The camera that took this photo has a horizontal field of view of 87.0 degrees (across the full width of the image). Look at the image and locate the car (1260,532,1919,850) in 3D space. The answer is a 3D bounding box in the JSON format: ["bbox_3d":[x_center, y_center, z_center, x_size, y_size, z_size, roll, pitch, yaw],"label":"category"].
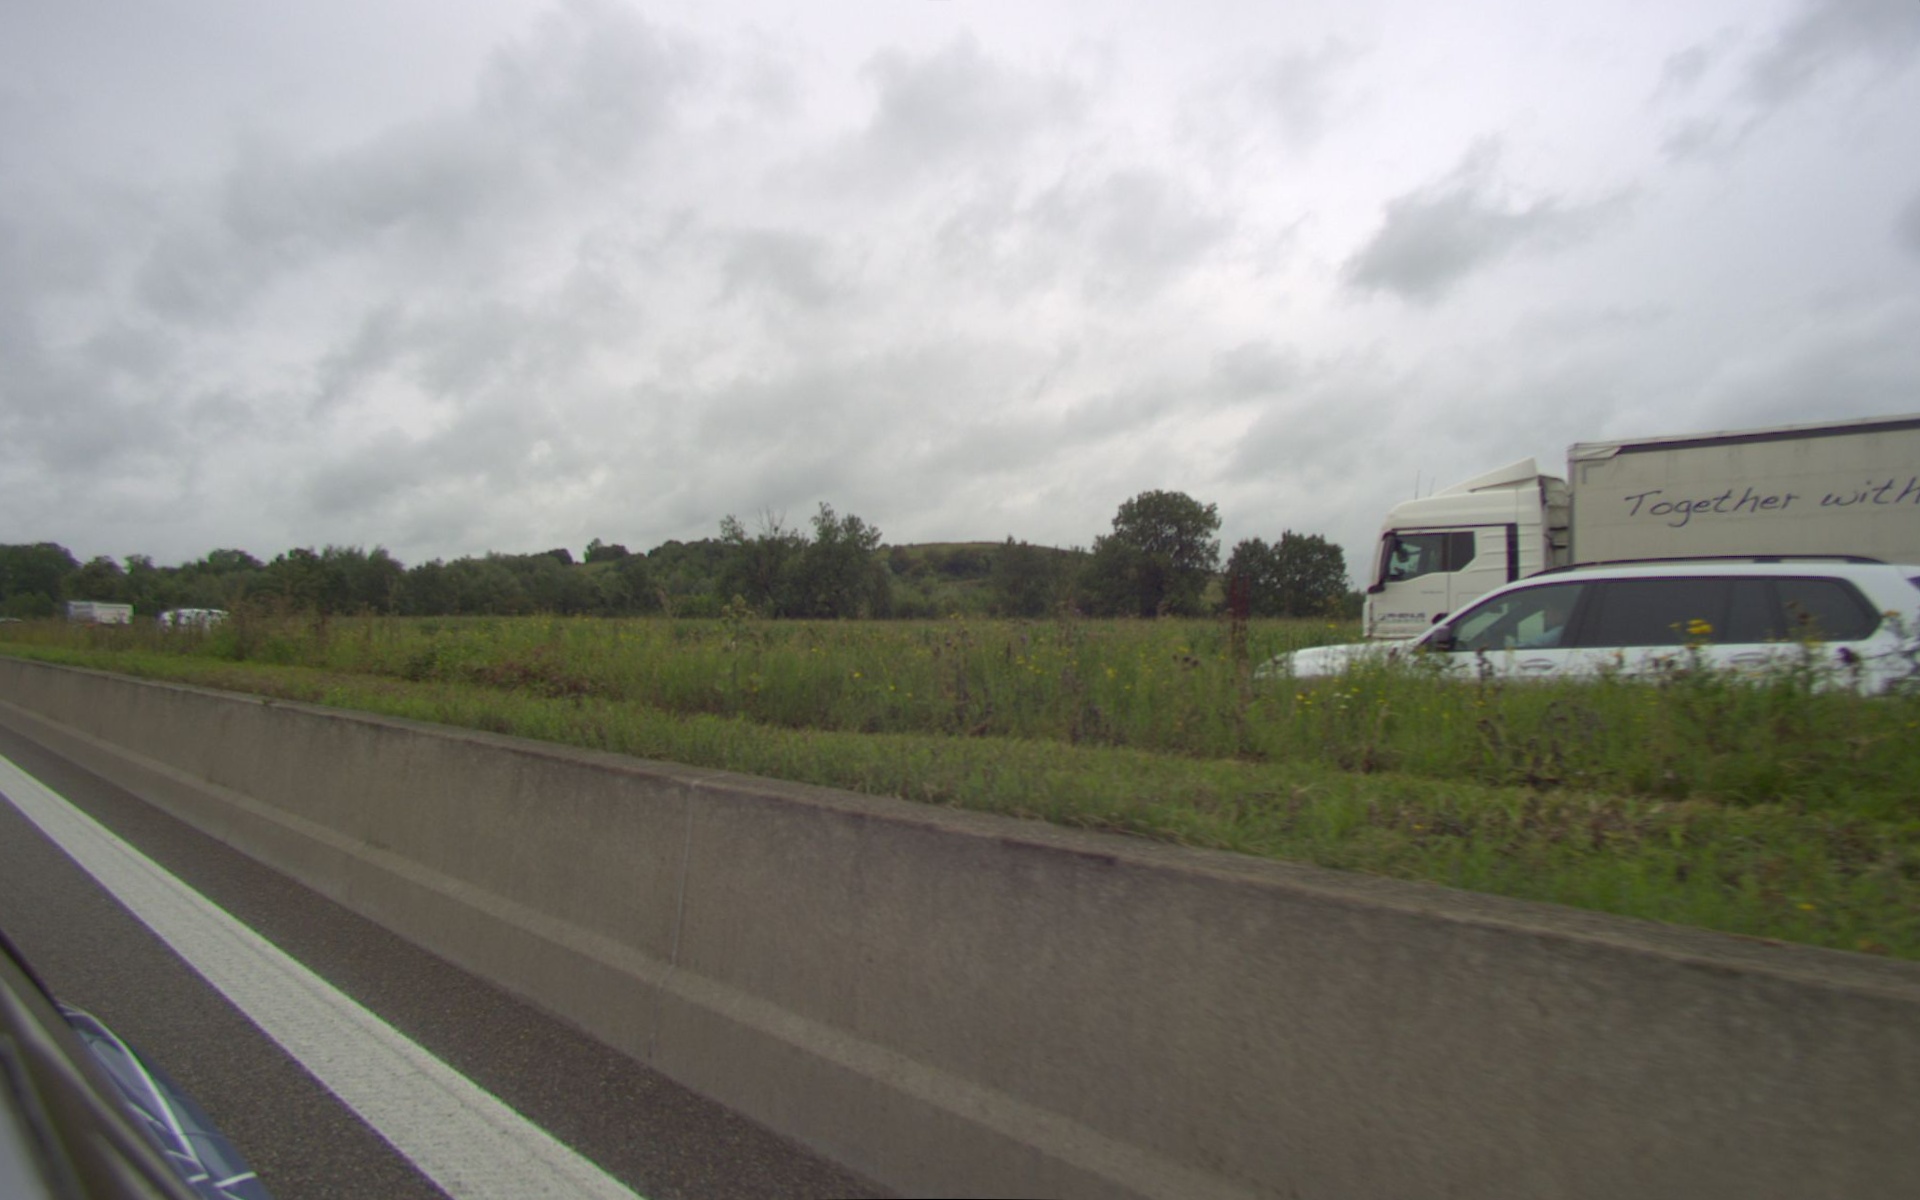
[{"bbox_3d":[4.933,0.585,7.690,4.798,1.852,1.800,-1,-3,41],"label":"car"}]

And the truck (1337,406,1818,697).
[{"bbox_3d":[8.925,-0.554,14.948,5.624,3.454,2.939,-1,0,40],"label":"truck"}]

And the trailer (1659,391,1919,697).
[{"bbox_3d":[14.920,-0.685,9.753,13.235,3.454,2.884,-1,0,41],"label":"trailer"}]

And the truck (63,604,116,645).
[{"bbox_3d":[-74.444,2.085,86.555,4.517,3.369,2.728,-1,0,40],"label":"truck"}]

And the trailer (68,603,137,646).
[{"bbox_3d":[-70.789,2.005,83.450,9.919,3.353,2.759,-1,0,40],"label":"trailer"}]

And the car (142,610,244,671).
[{"bbox_3d":[-27.928,1.431,36.807,5.066,2.029,1.973,-1,-1,41],"label":"car"}]
